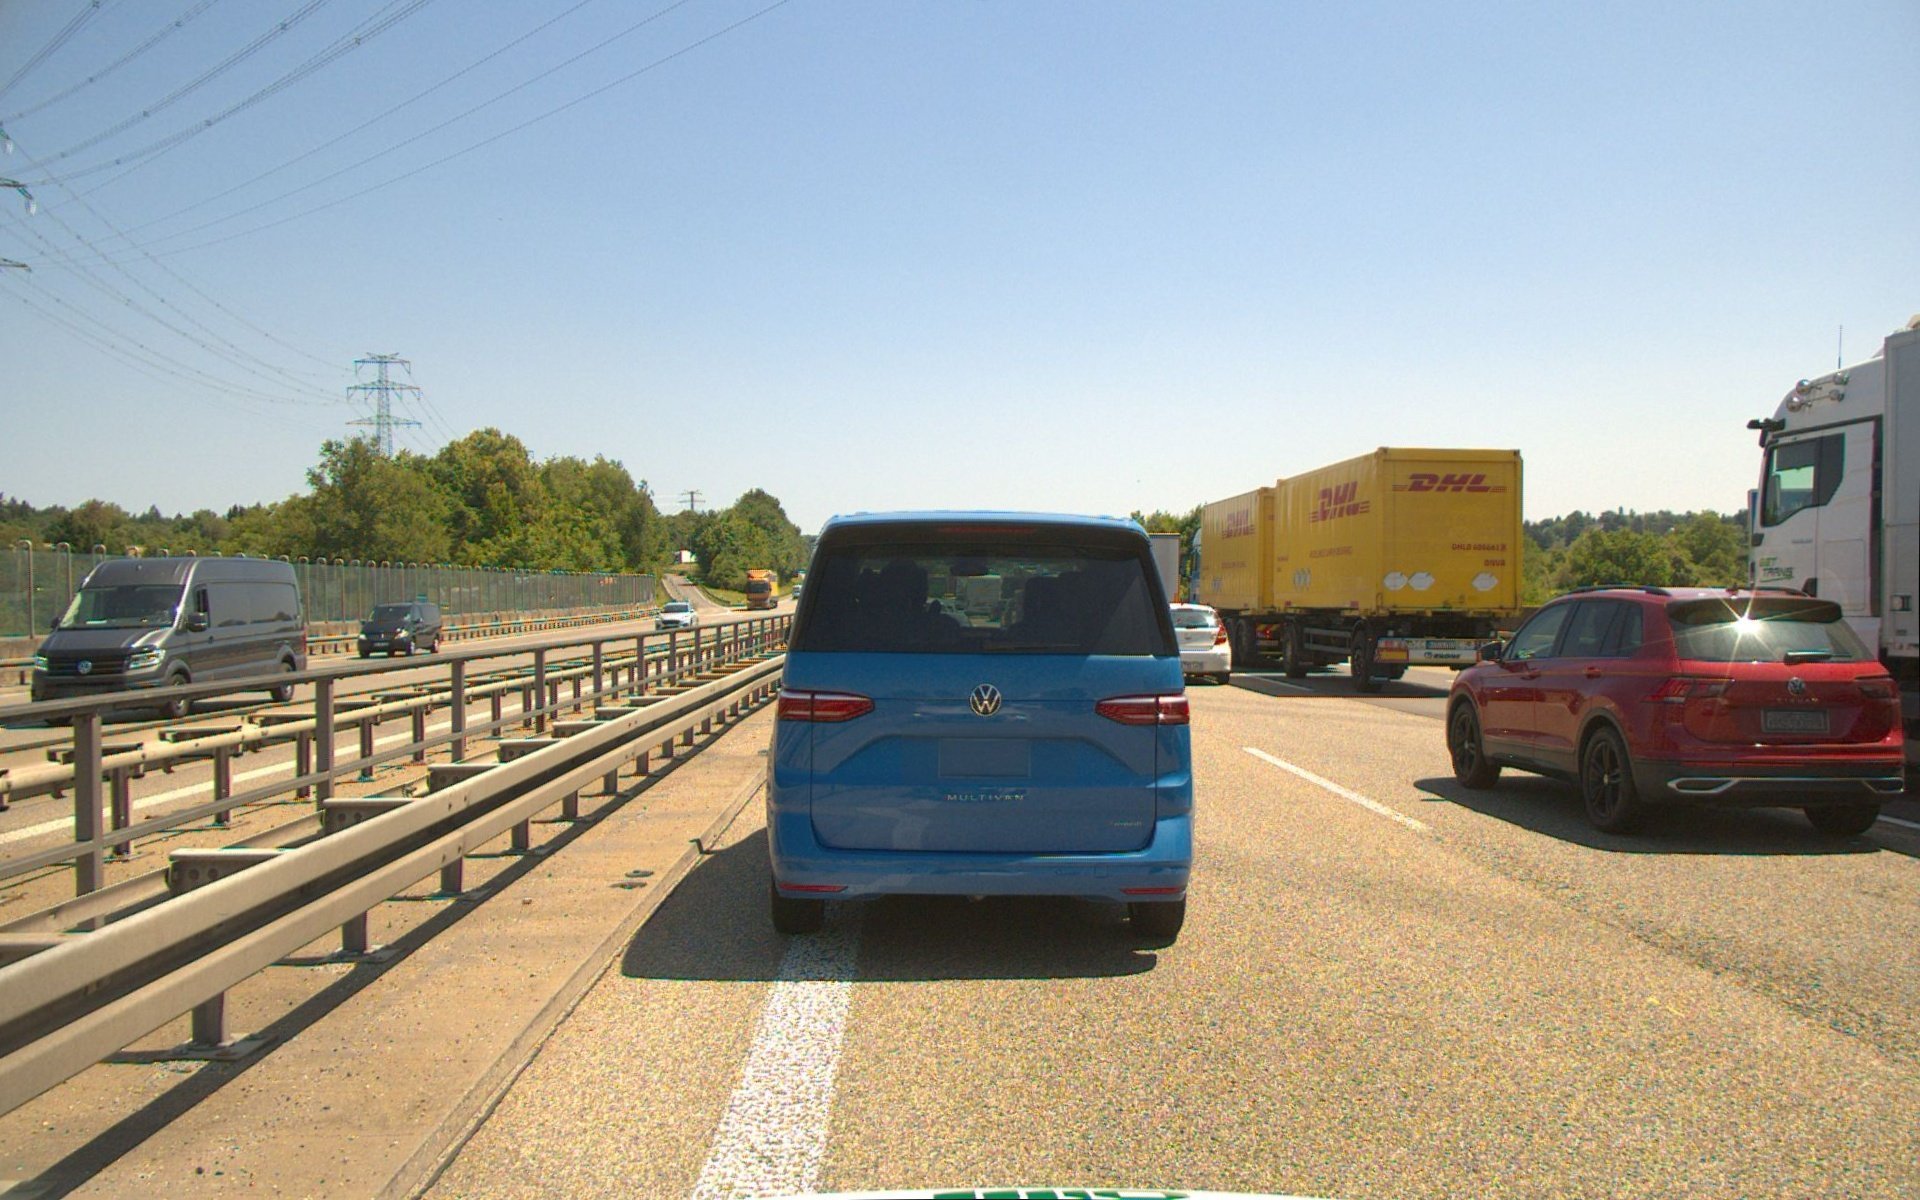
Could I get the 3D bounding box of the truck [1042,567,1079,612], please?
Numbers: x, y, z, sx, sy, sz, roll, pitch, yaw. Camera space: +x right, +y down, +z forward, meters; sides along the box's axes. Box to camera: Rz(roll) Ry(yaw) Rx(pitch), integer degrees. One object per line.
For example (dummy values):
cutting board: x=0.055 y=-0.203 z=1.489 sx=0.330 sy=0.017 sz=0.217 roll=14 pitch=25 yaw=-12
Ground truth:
truck: x=5.742 y=-0.548 z=95.049 sx=1.761 sy=2.492 sz=4.503 roll=1 pitch=-1 yaw=-1

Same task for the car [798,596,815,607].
car: x=-19.757 y=0.247 z=212.808 sx=1.654 sy=1.326 sz=4.013 roll=-3 pitch=-1 yaw=2

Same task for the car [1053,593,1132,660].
car: x=3.565 y=0.703 z=45.051 sx=1.778 sy=1.708 sz=3.931 roll=1 pitch=-1 yaw=-1

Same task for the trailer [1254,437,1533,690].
trailer: x=8.009 y=-0.568 z=31.992 sx=2.629 sy=4.159 sz=8.975 roll=1 pitch=-1 yaw=-3

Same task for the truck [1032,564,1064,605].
truck: x=5.817 y=-0.988 z=109.343 sx=1.760 sy=2.641 sz=4.304 roll=1 pitch=-1 yaw=-1

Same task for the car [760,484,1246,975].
car: x=0.128 y=0.531 z=8.526 sx=1.891 sy=1.906 sz=3.999 roll=1 pitch=-1 yaw=-2

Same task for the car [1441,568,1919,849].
car: x=5.092 y=0.684 z=12.282 sx=1.674 sy=1.708 sz=4.283 roll=0 pitch=-1 yaw=-2

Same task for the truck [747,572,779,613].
truck: x=-21.135 y=-0.749 z=178.012 sx=2.617 sy=4.258 sz=6.287 roll=-1 pitch=-1 yaw=1

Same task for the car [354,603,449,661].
car: x=-20.242 y=1.132 z=60.118 sx=1.918 sy=1.939 sz=4.948 roll=-2 pitch=0 yaw=-3

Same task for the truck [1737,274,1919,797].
truck: x=8.807 y=-0.495 z=10.151 sx=2.794 sy=4.003 sz=10.605 roll=1 pitch=-1 yaw=-2

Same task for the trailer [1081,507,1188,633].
trailer: x=6.970 y=-1.093 z=67.734 sx=2.965 sy=4.692 sz=10.922 roll=1 pitch=-1 yaw=-1

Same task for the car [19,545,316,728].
car: x=-12.987 y=0.559 z=27.726 sx=1.954 sy=2.627 sz=6.647 roll=-2 pitch=0 yaw=-3

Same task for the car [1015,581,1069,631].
car: x=3.383 y=0.266 z=68.874 sx=1.922 sy=1.970 sz=3.931 roll=1 pitch=-1 yaw=-2

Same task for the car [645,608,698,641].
car: x=-14.537 y=1.223 z=83.593 sx=1.953 sy=1.571 sz=4.384 roll=-2 pitch=0 yaw=-1

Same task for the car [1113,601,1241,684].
car: x=4.157 y=0.793 z=32.214 sx=1.779 sy=1.496 sz=3.929 roll=1 pitch=-1 yaw=-3

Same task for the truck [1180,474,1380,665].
truck: x=7.704 y=-0.630 z=41.378 sx=2.645 sy=4.159 sz=9.934 roll=1 pitch=-1 yaw=-2

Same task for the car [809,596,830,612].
car: x=-13.937 y=0.372 z=164.134 sx=1.726 sy=1.534 sz=4.222 roll=-1 pitch=0 yaw=-1

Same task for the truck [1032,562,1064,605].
truck: x=5.504 y=-0.987 z=103.772 sx=1.706 sy=2.593 sz=4.209 roll=1 pitch=-1 yaw=-1

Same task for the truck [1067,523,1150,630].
truck: x=6.814 y=-1.007 z=77.146 sx=2.965 sy=4.692 sz=7.919 roll=1 pitch=-1 yaw=-1
